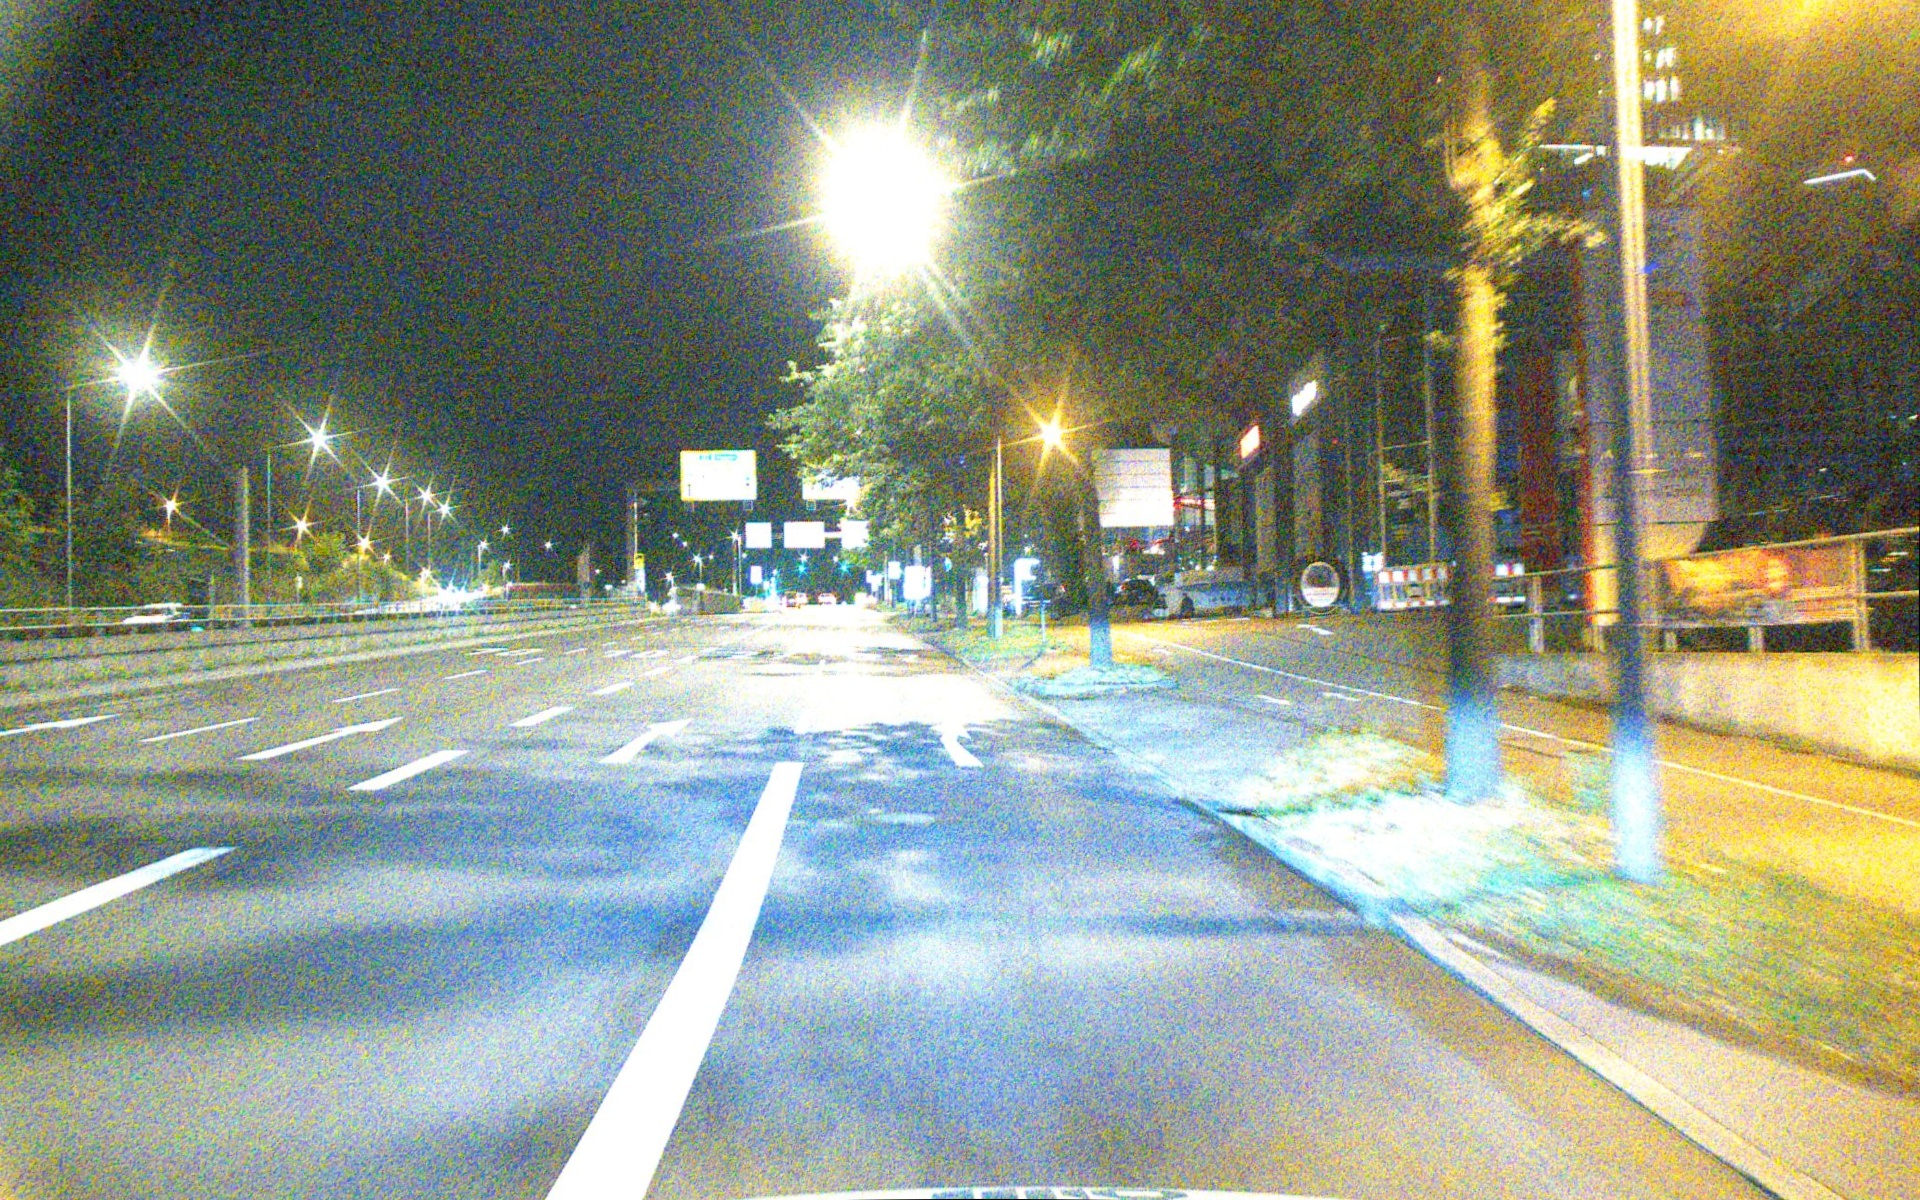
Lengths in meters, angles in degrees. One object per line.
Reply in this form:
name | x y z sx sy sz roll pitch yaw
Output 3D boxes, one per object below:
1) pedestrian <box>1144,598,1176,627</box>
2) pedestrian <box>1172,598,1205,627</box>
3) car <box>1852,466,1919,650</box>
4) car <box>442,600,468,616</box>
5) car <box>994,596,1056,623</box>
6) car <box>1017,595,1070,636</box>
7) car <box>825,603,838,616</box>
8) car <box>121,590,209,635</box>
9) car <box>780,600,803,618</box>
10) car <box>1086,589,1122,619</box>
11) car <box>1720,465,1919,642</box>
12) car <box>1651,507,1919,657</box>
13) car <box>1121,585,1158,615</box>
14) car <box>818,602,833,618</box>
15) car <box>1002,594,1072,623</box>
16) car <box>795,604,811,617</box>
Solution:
pedestrian | 7.461 0.477 61.715 0.896 1.057 0.768 -2 -1 39
pedestrian | 8.559 0.473 61.856 0.983 1.025 0.767 1 -2 -19
car | 9.729 -0.430 13.773 3.653 1.515 1.740 -3 -2 -6
car | -49.651 0.790 162.576 1.593 1.507 3.676 1 -2 -3
car | 3.808 0.574 97.163 3.444 1.535 1.732 1 -2 -8
car | 4.245 0.821 83.673 1.951 1.979 4.003 0 -2 13
car | -17.911 1.356 230.579 1.746 1.758 3.996 1 -2 -4
car | -31.393 0.494 65.409 1.765 1.724 3.996 1 -1 -4
car | -16.566 0.898 162.681 1.928 1.741 3.998 1 -2 -2
car | 7.897 0.221 91.096 1.853 1.538 3.637 0 -2 3
car | 9.692 -0.483 16.399 3.495 1.597 1.723 -3 -1 -8
car | 10.041 -0.231 19.403 3.799 1.516 1.719 -2 -3 -35
car | 10.031 0.026 92.521 1.853 1.538 3.637 0 -2 3
car | -18.010 1.366 221.722 1.954 2.049 3.996 1 -2 -4
car | 4.146 0.457 89.090 3.556 1.477 1.704 1 -2 -8
car | -21.020 1.474 221.451 1.954 1.624 3.996 -1 -2 -4
